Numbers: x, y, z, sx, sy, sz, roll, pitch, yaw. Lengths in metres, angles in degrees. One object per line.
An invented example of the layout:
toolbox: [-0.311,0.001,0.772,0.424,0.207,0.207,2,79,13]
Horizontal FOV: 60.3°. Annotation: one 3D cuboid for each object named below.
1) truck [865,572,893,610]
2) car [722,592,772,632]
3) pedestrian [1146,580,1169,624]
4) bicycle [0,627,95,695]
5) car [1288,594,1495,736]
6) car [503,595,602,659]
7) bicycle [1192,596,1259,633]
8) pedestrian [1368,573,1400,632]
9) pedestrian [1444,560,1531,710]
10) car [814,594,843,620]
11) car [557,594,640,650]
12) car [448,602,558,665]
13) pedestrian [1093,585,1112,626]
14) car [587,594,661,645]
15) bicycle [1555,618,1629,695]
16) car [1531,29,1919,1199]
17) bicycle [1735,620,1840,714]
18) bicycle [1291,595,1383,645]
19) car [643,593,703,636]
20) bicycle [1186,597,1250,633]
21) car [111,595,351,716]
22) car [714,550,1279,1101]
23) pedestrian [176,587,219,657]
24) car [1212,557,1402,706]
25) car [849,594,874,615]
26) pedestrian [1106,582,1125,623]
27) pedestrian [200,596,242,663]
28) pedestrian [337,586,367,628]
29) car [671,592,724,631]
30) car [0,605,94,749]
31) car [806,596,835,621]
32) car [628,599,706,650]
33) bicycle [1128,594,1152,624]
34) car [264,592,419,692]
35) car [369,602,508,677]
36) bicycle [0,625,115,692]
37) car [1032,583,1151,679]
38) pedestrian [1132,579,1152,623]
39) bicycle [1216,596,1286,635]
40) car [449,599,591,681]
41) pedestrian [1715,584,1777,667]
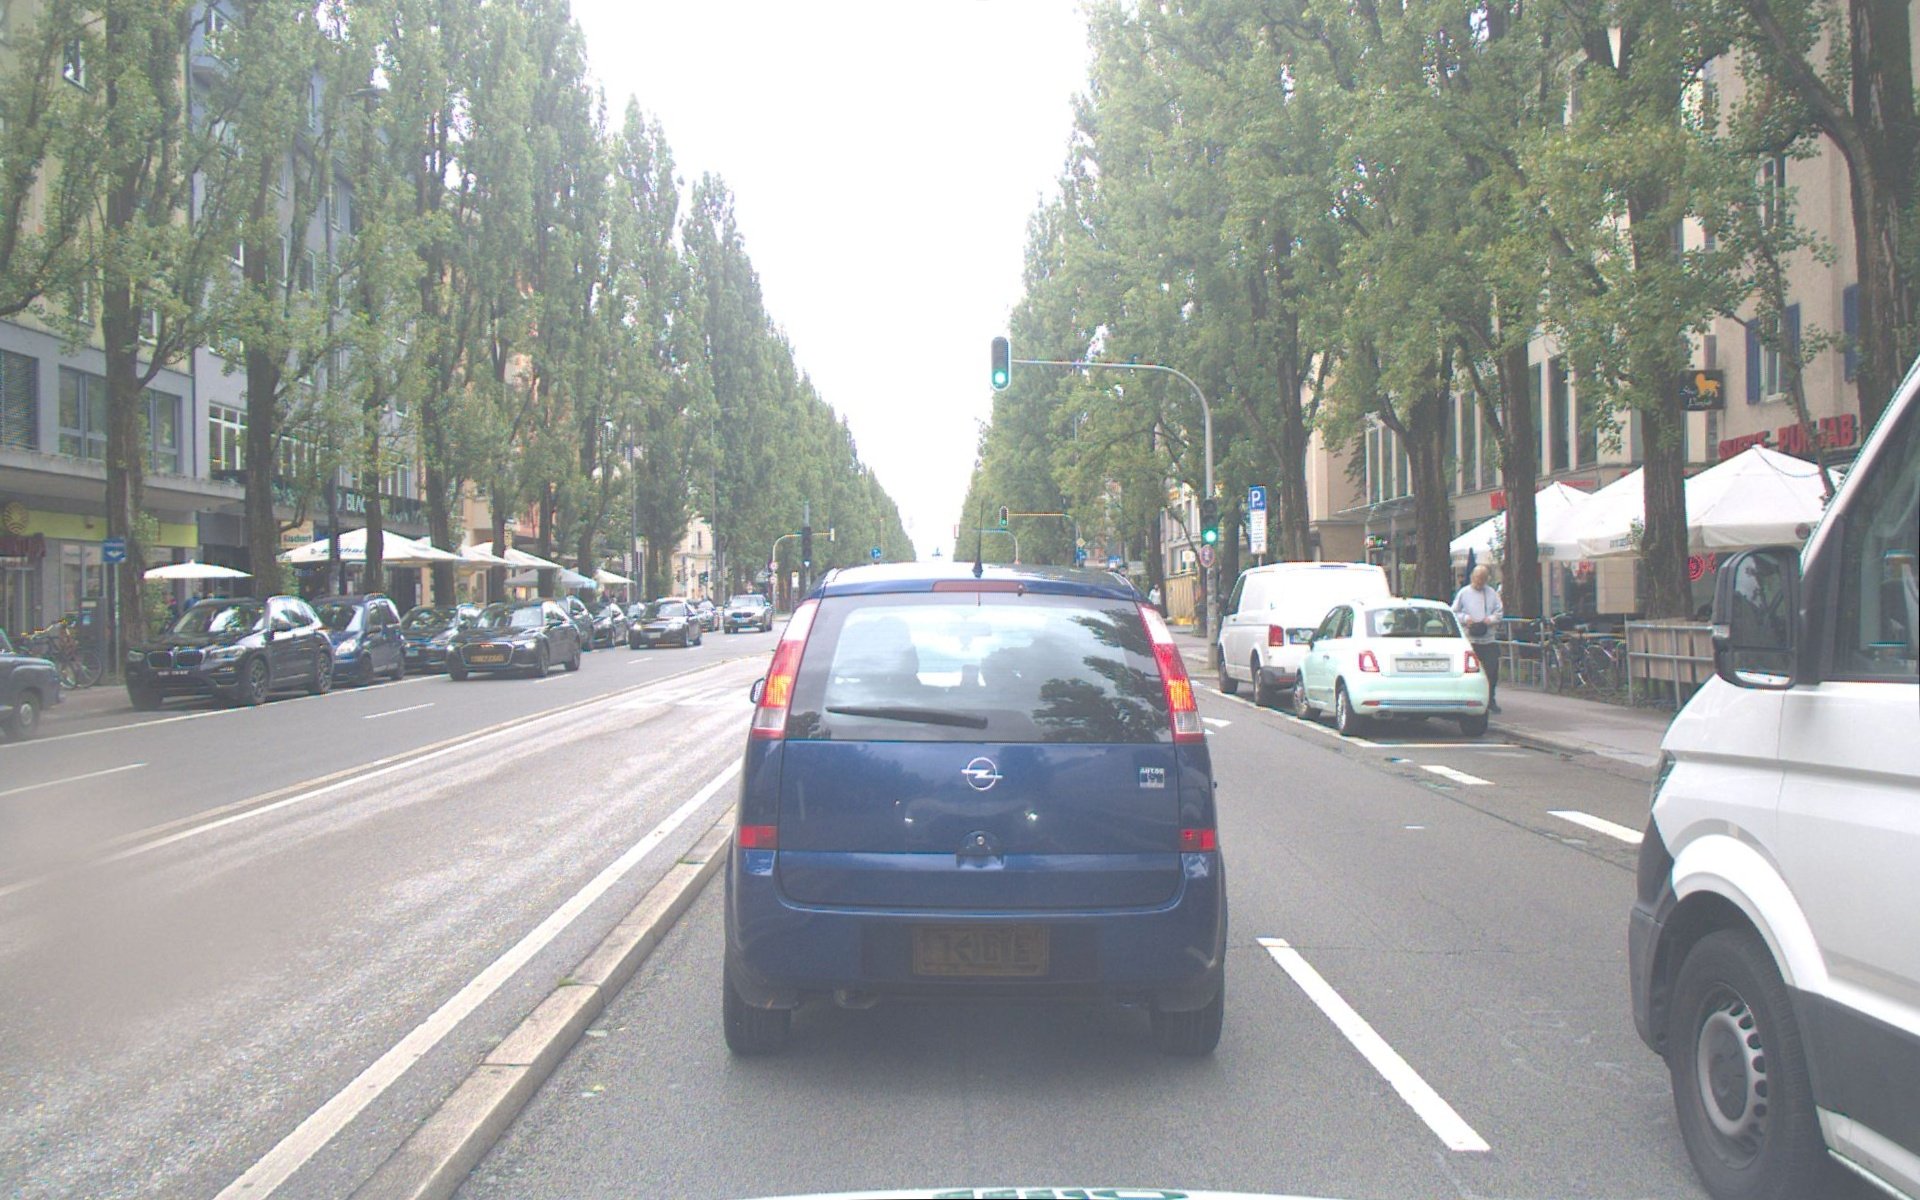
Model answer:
truck: [-7.486,-0.802,154.219,2.334,3.405,7.109,-1,0,-1]
car: [-9.422,0.492,73.548,1.735,1.663,4.454,-2,0,-2]
pedestrian: [8.514,0.091,71.301,0.707,1.859,0.885,1,-1,-11]
bicycle: [-16.102,1.044,28.566,1.909,1.114,0.718,2,0,-7]
car: [4.961,0.691,19.427,1.509,1.518,3.523,0,0,0]
car: [-11.892,0.745,48.560,1.828,1.694,4.400,-2,0,-1]
bicycle: [9.219,0.515,57.466,2.182,1.225,0.626,-1,0,-3]
pedestrian: [12.566,0.065,49.036,0.660,1.715,0.758,-1,-1,-5]
pedestrian: [6.539,0.424,20.529,0.810,1.804,0.871,-1,0,2]
car: [-10.416,0.523,131.222,1.953,2.049,3.999,-1,0,-1]
car: [-11.920,0.698,54.816,1.828,1.694,4.119,-2,0,-1]
car: [-11.792,0.833,42.902,1.698,1.450,4.142,-2,0,-1]
pedestrian: [6.496,0.249,75.452,0.625,1.859,0.885,1,-1,-11]
car: [-12.101,0.670,59.809,1.828,1.694,4.119,-2,0,-1]
bicycle: [8.793,0.767,23.066,0.342,1.013,1.453,-2,0,-4]
car: [2.765,0.239,1.648,2.021,2.536,6.729,0,0,-1]
bicycle: [9.433,0.741,18.896,0.342,1.013,1.453,-2,0,-4]
bicycle: [9.707,0.521,42.613,2.182,1.225,0.626,-1,0,-3]
car: [-12.227,0.594,70.595,1.828,1.694,4.119,-2,0,-1]
bicycle: [9.174,0.515,58.844,2.182,1.225,0.626,-1,0,-3]
car: [-11.571,0.802,26.634,1.828,1.693,4.610,-2,0,-1]
car: [0.089,0.644,6.801,1.637,1.596,3.999,0,0,-1]
pedestrian: [-19.210,0.555,41.662,0.740,1.715,0.675,-1,-1,0]
car: [4.992,0.412,24.466,1.751,1.980,4.729,0,0,-1]
car: [-7.387,0.342,124.690,1.699,1.491,3.364,-1,0,-1]
pedestrian: [7.113,0.112,75.621,0.625,1.859,0.885,1,-1,-11]
pedestrian: [-19.183,0.757,42.928,0.740,1.715,0.675,-1,-1,0]
pedestrian: [-20.825,0.238,56.684,0.750,1.434,0.799,1,-1,-6]
car: [-12.334,0.526,77.869,1.828,1.694,4.119,-2,0,-1]
car: [-11.642,0.907,18.262,1.828,1.579,4.413,-2,0,-1]
car: [-10.120,0.610,120.224,1.828,1.695,4.119,-1,0,-1]
car: [-9.205,0.734,52.242,1.710,1.459,4.129,-2,0,-1]
bicycle: [8.198,0.396,75.470,0.757,1.372,2.449,-1,0,-1]
car: [-11.890,0.761,32.046,1.676,1.751,3.919,-2,0,-4]
car: [-11.744,0.845,37.537,1.762,1.514,4.349,-2,0,-1]
bicycle: [-16.175,1.040,29.395,1.909,1.114,0.718,2,0,-7]
car: [2.369,0.528,30.666,1.858,1.650,3.999,0,0,-1]
pedestrian: [7.810,0.055,71.079,0.625,1.859,0.885,1,-1,-11]
bicycle: [9.587,0.516,54.560,2.182,1.225,0.626,-1,0,-3]
car: [-8.974,0.770,34.119,1.663,1.488,4.712,-2,0,-1]
pedestrian: [13.035,0.412,27.447,0.625,1.347,0.800,-1,0,-1]
